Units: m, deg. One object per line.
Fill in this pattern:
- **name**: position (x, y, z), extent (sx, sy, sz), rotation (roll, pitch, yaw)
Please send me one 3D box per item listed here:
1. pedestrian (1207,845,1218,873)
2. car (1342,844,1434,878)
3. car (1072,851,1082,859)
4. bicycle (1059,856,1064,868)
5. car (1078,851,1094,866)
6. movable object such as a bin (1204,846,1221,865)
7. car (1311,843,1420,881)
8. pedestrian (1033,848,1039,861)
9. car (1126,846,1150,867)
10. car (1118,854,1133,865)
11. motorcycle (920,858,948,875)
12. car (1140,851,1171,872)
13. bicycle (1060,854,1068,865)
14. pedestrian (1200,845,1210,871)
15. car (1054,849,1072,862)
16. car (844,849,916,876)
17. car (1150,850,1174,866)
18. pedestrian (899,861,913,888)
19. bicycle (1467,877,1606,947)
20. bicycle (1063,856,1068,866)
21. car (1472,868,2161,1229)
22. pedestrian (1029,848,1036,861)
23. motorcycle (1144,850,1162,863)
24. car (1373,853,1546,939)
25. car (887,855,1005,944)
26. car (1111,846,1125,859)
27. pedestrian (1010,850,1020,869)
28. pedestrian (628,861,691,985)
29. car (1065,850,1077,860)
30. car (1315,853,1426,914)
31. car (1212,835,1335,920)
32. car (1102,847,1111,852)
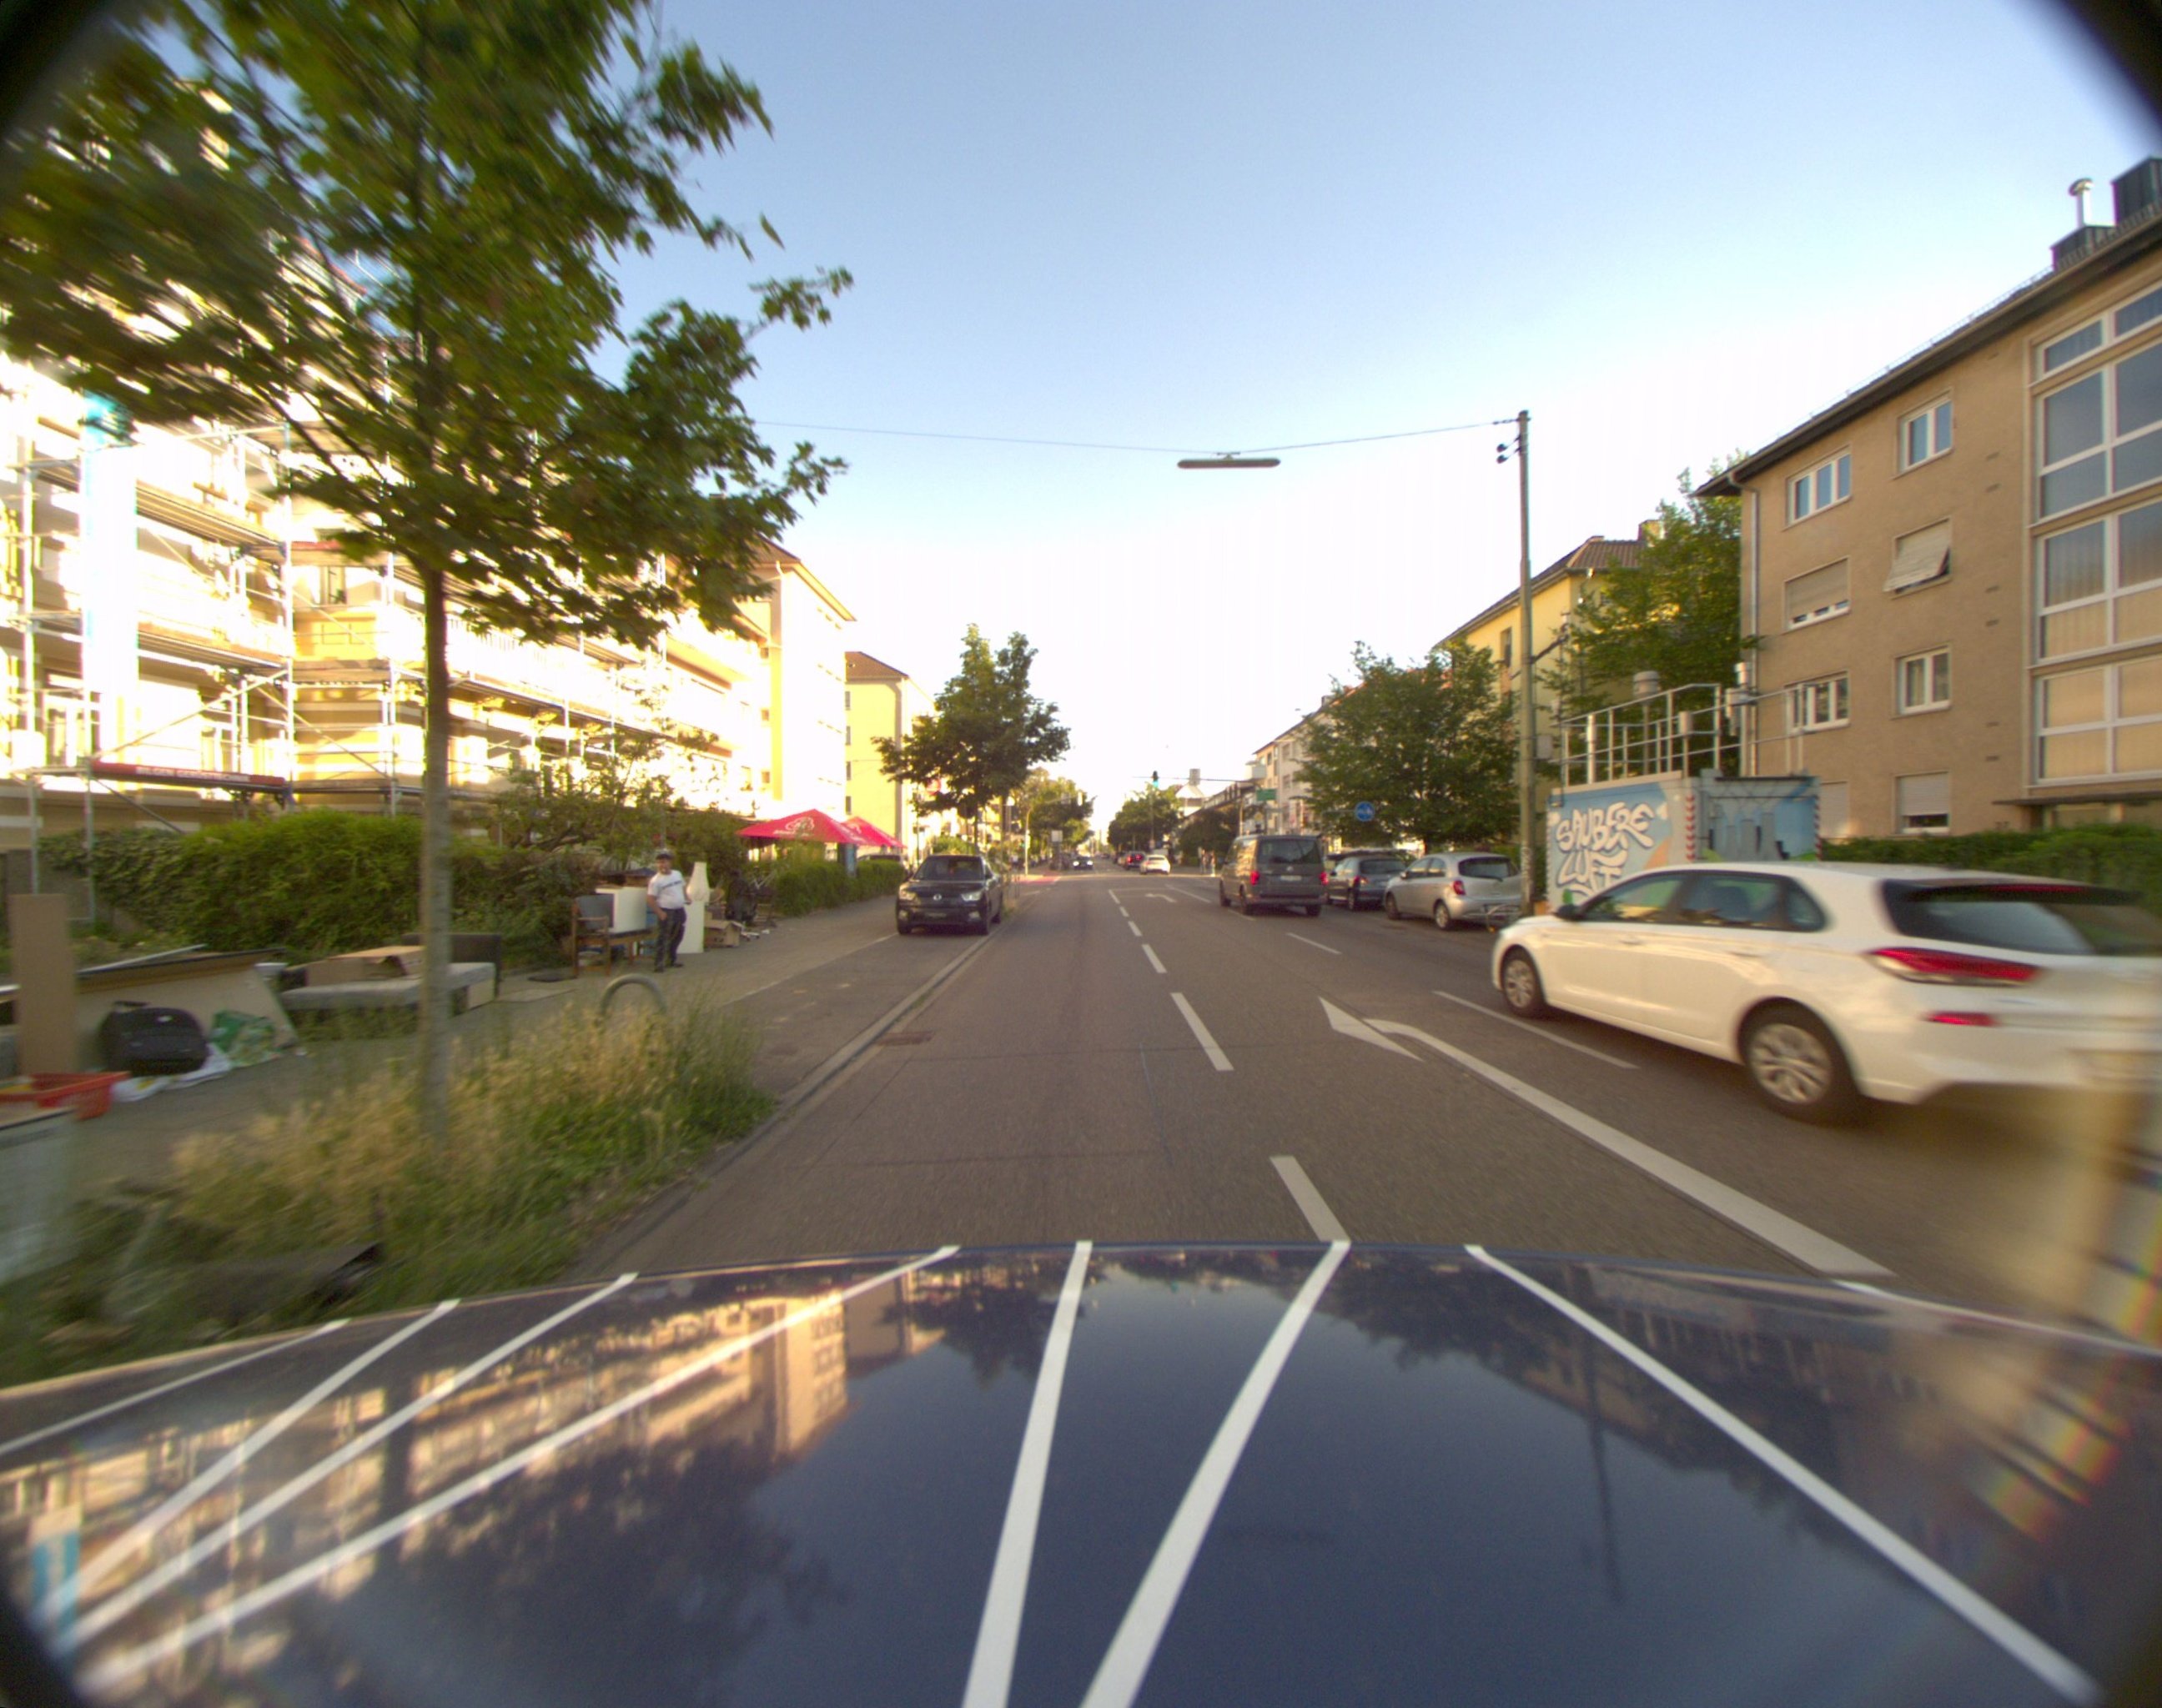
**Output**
- **pedestrian**: position (9.766, 0.365, 56.370), extent (0.645, 2.002, 0.814), rotation (-2, 2, 2)
- **car**: position (17.435, 0.398, 43.283), extent (4.483, 1.837, 1.908), rotation (-1, 1, 0)
- **car**: position (-0.777, 0.166, 143.692), extent (1.744, 1.509, 3.811), rotation (-1, 1, 3)
- **bicycle**: position (-1.897, 0.732, 74.505), extent (0.325, 1.138, 1.799), rotation (-1, 1, -4)
- **car**: position (0.541, 0.418, 78.951), extent (1.641, 1.482, 4.415), rotation (0, 0, 0)
- **movable object such as a bin**: position (12.545, 0.146, 72.263), extent (1.309, 1.649, 1.180), rotation (-4, 2, 0)
- **car**: position (13.895, 0.386, 37.249), extent (4.603, 1.604, 1.843), rotation (-2, 1, -2)
- **pedestrian**: position (-5.957, 0.100, 99.907), extent (0.659, 1.673, 0.831), rotation (0, 1, 6)
- **car**: position (5.314, 0.209, 71.518), extent (1.867, 1.819, 5.226), rotation (1, 1, 0)
- **car**: position (5.810, 0.689, 99.359), extent (1.845, 1.312, 4.441), rotation (0, 1, 1)
- **motorcycle**: position (-10.863, 0.934, 56.229), extent (1.992, 1.194, 0.774), rotation (-1, 1, -12)
- **car**: position (5.434, 0.497, 55.590), extent (1.841, 1.465, 4.671), rotation (1, 0, 1)
- **bicycle**: position (-1.778, 0.598, 79.996), extent (0.324, 1.138, 1.802), rotation (0, 1, 14)
- **pedestrian**: position (9.432, 0.312, 57.988), extent (0.639, 2.002, 0.739), rotation (-1, 1, 2)
- **car**: position (-2.061, 0.149, 87.543), extent (1.744, 1.509, 3.811), rotation (-1, 1, 3)
- **car**: position (-14.950, 0.645, 56.664), extent (4.842, 1.855, 1.952), rotation (-1, 2, -2)
- **car**: position (8.369, 0.356, 78.760), extent (1.810, 1.604, 3.950), rotation (-1, 1, -2)
- **pedestrian**: position (-7.508, 0.862, 32.625), extent (0.413, 1.143, 0.632), rotation (-1, 1, 4)
- **bicycle**: position (7.897, 0.991, 13.224), extent (2.010, 1.083, 0.583), rotation (-3, 1, 1)
- **bicycle**: position (-1.556, 0.718, 77.221), extent (0.325, 0.981, 1.191), rotation (-1, 1, 5)
- **car**: position (4.749, 0.890, 5.324), extent (1.820, 1.438, 4.109), rotation (2, 0, -1)
- **pedestrian**: position (-6.226, 0.107, 97.475), extent (0.659, 1.673, 0.831), rotation (0, 1, 6)
- **motorcycle**: position (8.319, 0.281, 87.888), extent (1.263, 1.526, 2.887), rotation (-1, 1, -14)
- **car**: position (7.738, 0.771, 15.967), extent (1.641, 1.543, 3.785), rotation (-1, 0, -2)
- **car**: position (-2.694, 0.846, 16.100), extent (1.796, 1.622, 4.028), rotation (1, 0, 0)
- **car**: position (5.506, -0.293, 114.618), extent (1.842, 1.866, 4.409), rotation (-1, 1, 0)
- **pedestrian**: position (-5.914, 0.496, 68.102), extent (0.830, 1.673, 0.660), rotation (0, 1, 4)
- **pedestrian**: position (-5.573, 0.876, 10.081), extent (0.558, 1.559, 0.747), rotation (-1, 1, -18)
- **car**: position (-1.571, 0.179, 121.362), extent (1.744, 1.509, 3.811), rotation (-1, 1, 3)
- **car**: position (7.831, 0.739, 20.963), extent (1.657, 1.471, 3.943), rotation (-1, 0, 2)
- **car**: position (4.887, 0.529, 20.059), extent (1.998, 1.934, 4.777), rotation (1, 0, 0)
- **car**: position (7.176, -1.264, 212.927), extent (1.843, 1.604, 4.406), rotation (-1, 1, -7)
